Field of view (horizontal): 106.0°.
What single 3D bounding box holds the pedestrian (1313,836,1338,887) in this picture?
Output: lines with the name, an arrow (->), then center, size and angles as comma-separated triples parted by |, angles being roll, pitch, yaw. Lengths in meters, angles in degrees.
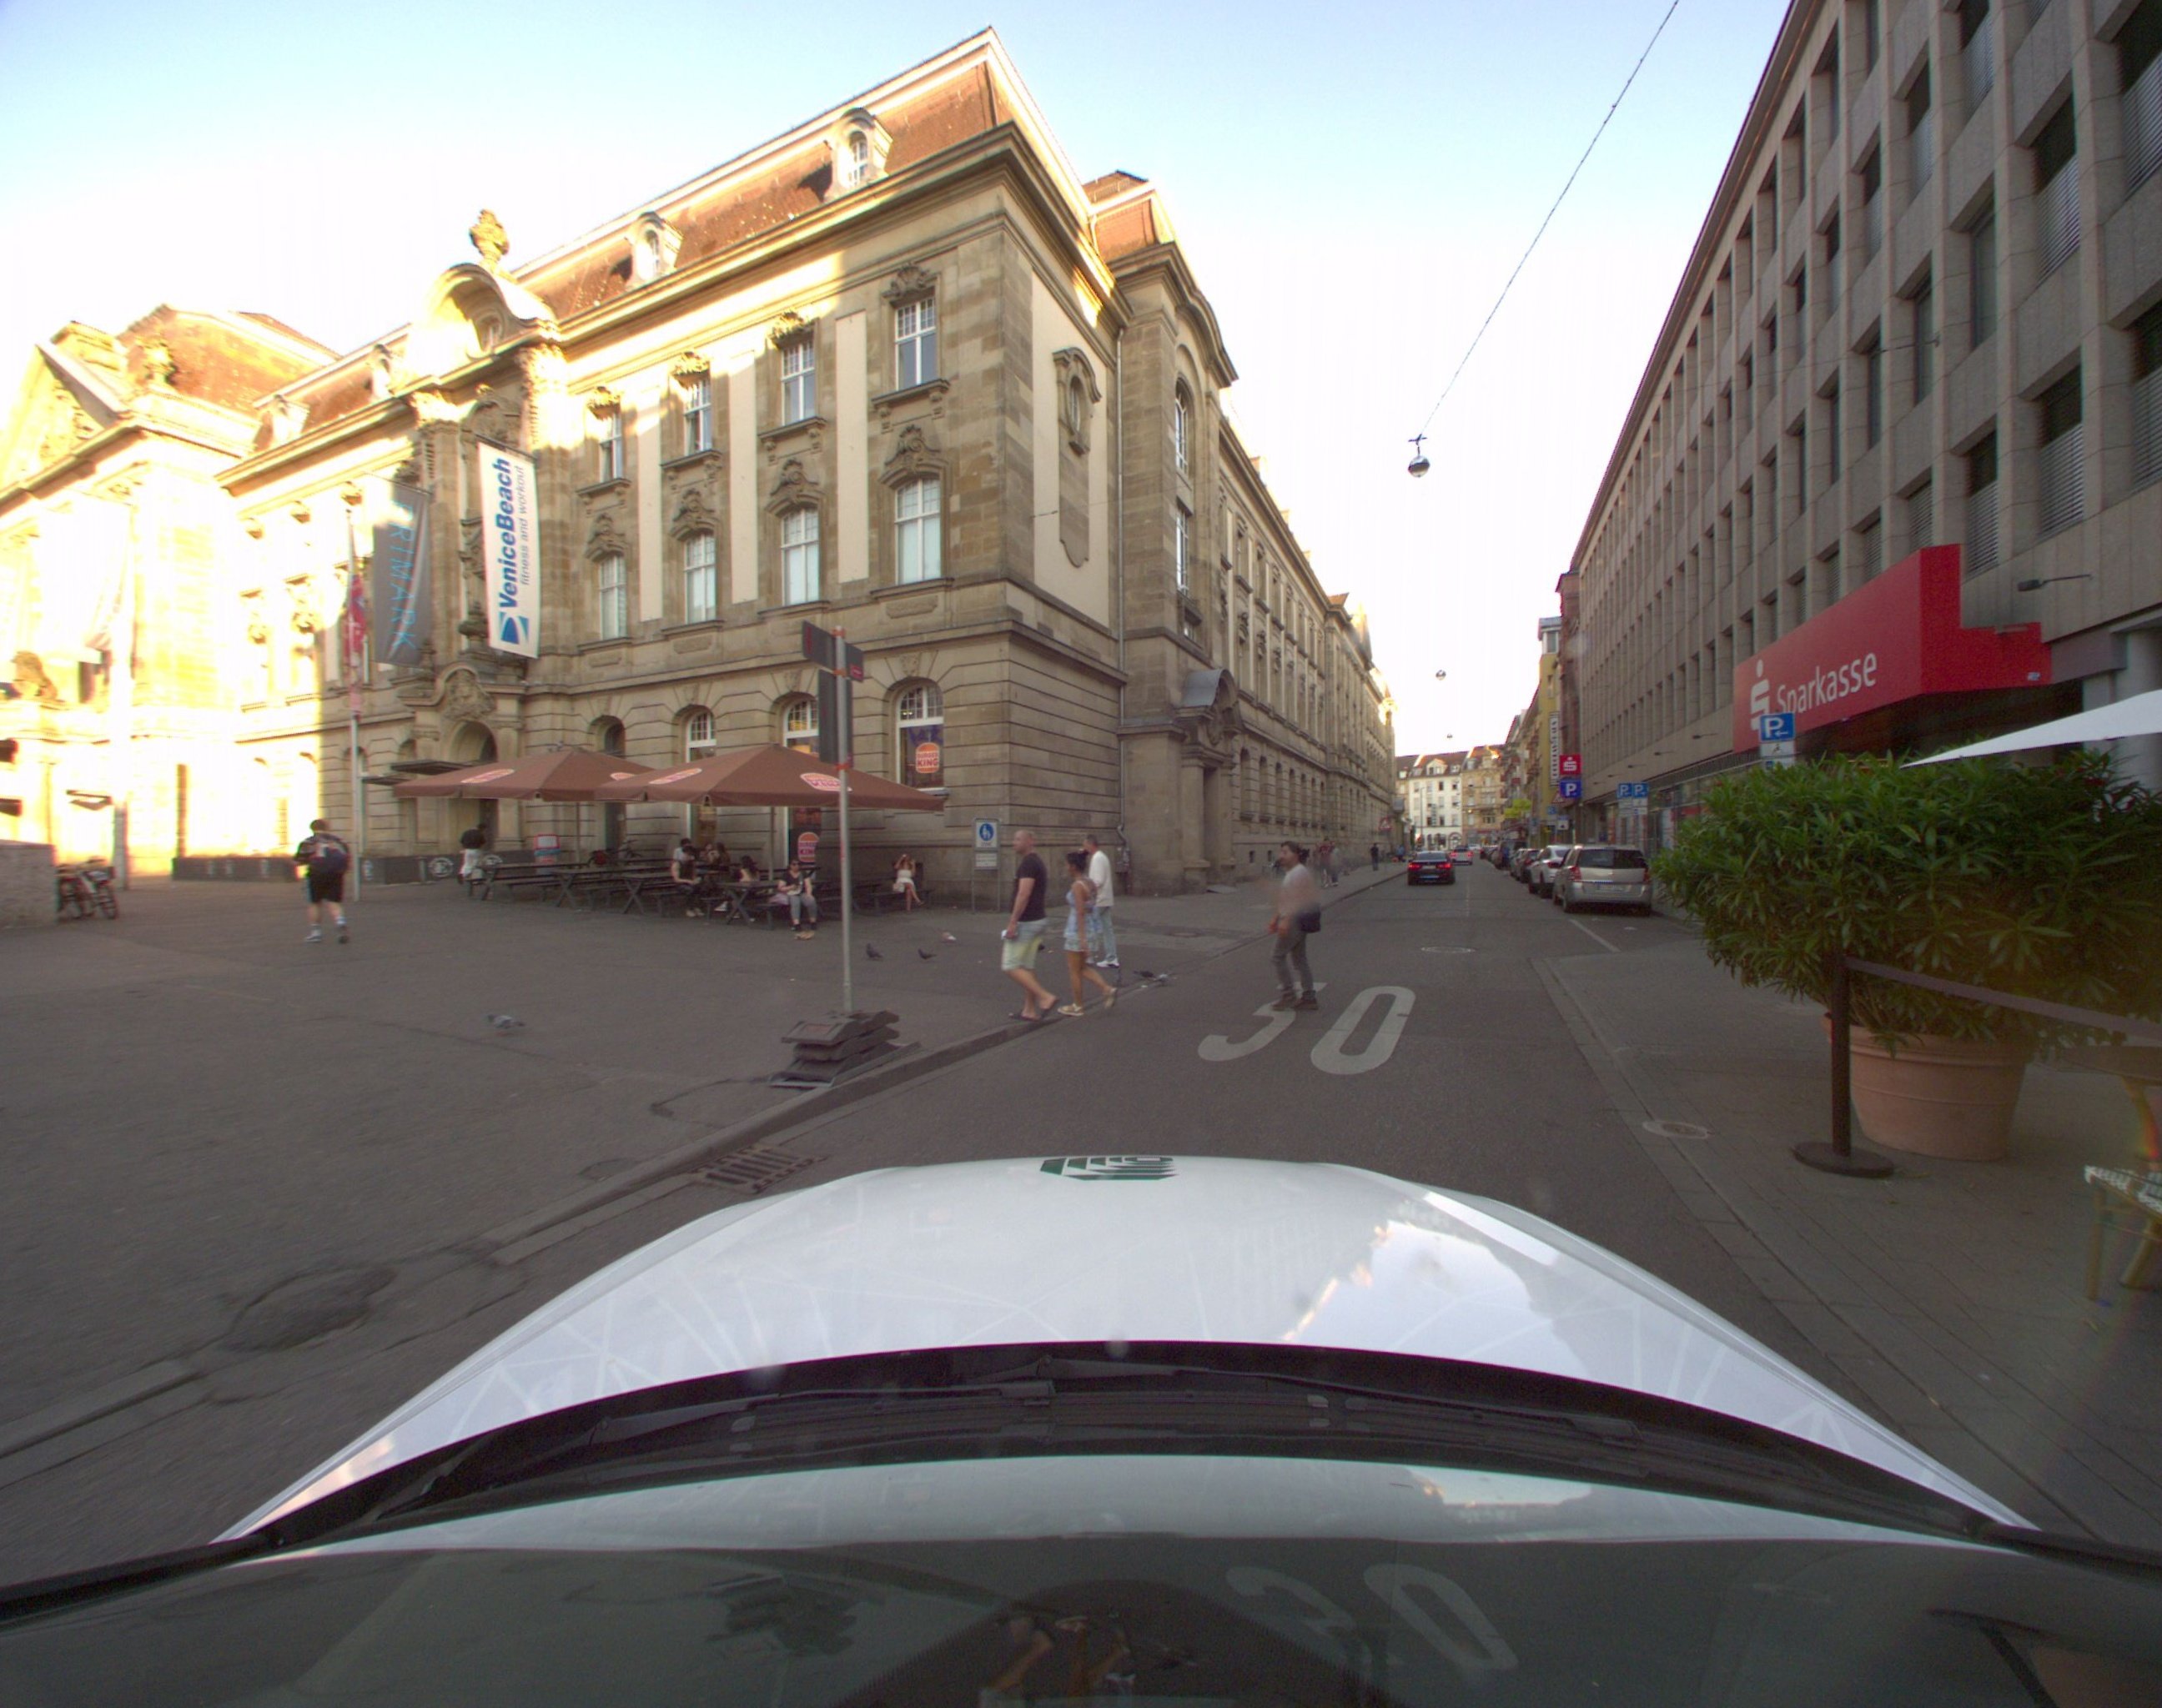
pedestrian -> 8.975, 0.260, 29.844 | 0.691, 1.812, 0.980 | 3, 1, 23

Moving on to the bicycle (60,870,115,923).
bicycle -> -16.827, 0.706, 13.789 | 0.988, 0.867, 0.318 | 0, 1, 24

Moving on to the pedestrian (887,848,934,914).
pedestrian -> -3.612, 0.553, 17.222 | 0.668, 1.308, 0.764 | -1, 4, -40

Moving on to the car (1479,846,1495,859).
car -> 47.991, -0.204, 96.308 | 1.629, 1.523, 3.303 | 1, 1, 25

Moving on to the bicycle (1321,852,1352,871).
bicycle -> 14.939, 0.445, 47.548 | 1.664, 1.041, 0.490 | 1, 1, 24

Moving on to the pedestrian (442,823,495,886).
pedestrian -> -15.556, -0.007, 20.695 | 0.850, 1.565, 0.845 | 0, 1, -19

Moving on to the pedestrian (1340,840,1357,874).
pedestrian -> 13.979, 0.151, 42.564 | 0.712, 1.752, 0.672 | 3, 1, 23

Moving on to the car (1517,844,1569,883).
car -> 19.741, 0.367, 34.895 | 1.629, 1.523, 3.303 | 1, 1, 25

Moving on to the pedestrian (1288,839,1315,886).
pedestrian -> 8.174, 0.313, 30.183 | 0.790, 1.675, 0.980 | 3, 1, 23

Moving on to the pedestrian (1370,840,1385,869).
pedestrian -> 18.756, 0.025, 51.534 | 0.797, 1.752, 0.814 | 3, 1, 23

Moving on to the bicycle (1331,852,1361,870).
bicycle -> 16.099, 0.439, 49.506 | 1.664, 1.041, 0.490 | 1, 1, 24

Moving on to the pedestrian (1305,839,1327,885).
pedestrian -> 9.095, 0.303, 31.493 | 0.683, 1.752, 0.726 | 3, 1, 23

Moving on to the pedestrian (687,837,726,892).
pedestrian -> -9.185, 0.256, 19.969 | 0.575, 1.308, 0.597 | 2, 1, 24

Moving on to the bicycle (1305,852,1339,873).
bicycle -> 12.859, 0.456, 43.401 | 1.664, 1.041, 0.490 | 1, 1, 24

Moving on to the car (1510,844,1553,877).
car -> 22.387, 0.285, 40.565 | 1.629, 1.523, 3.303 | 1, 1, 25

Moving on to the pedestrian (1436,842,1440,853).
pedestrian -> 60.671, -1.086, 138.377 | 0.660, 1.752, 0.685 | 3, 1, 22

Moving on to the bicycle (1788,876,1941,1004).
bicycle -> 7.519, 0.774, 7.902 | 0.553, 1.041, 1.695 | -2, -1, 26

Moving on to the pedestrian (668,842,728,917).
pedestrian -> -7.408, 0.482, 15.773 | 0.644, 1.383, 0.811 | 3, 1, 36

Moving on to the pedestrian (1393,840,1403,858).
pedestrian -> 30.406, -0.471, 78.174 | 0.800, 1.752, 0.942 | 3, 1, 24

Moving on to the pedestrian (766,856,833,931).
pedestrian -> -4.999, 0.681, 14.453 | 0.817, 1.242, 0.786 | 3, 1, 39

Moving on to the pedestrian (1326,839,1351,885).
pedestrian -> 9.978, 0.294, 31.603 | 0.780, 1.752, 0.726 | 3, 1, 23

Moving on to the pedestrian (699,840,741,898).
pedestrian -> -8.437, 0.337, 19.044 | 0.601, 1.308, 0.612 | 2, 1, 21

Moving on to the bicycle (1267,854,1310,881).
bicycle -> 8.780, 0.562, 34.468 | 1.663, 1.041, 0.490 | 2, 1, 31

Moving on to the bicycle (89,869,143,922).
bicycle -> -16.686, 0.706, 14.086 | 0.988, 0.867, 0.318 | 0, 1, 24

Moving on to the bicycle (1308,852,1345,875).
bicycle -> 12.046, 0.455, 40.015 | 1.664, 1.041, 0.490 | 1, 1, 24

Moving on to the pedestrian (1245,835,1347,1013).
pedestrian -> 2.135, 0.658, 8.045 | 0.861, 1.646, 0.736 | -1, -1, 21

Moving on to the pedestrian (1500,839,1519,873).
pedestrian -> 22.597, 0.092, 42.935 | 0.717, 1.791, 0.828 | -1, 0, 40

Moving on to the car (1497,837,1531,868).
car -> 29.518, -0.135, 55.593 | 1.853, 2.018, 3.787 | 1, 1, 25

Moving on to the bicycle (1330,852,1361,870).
bicycle -> 15.937, 0.439, 49.066 | 1.664, 1.041, 0.490 | 1, 1, 24

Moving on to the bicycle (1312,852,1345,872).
bicycle -> 13.515, 0.452, 44.504 | 1.664, 1.041, 0.490 | 1, 1, 24

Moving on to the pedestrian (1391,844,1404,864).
pedestrian -> 27.294, -0.026, 70.275 | 0.925, 1.636, 0.658 | 3, 1, 23

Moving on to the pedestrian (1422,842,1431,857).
pedestrian -> 43.577, -0.559, 102.708 | 0.925, 1.752, 0.814 | 3, 1, 22

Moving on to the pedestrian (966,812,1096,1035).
pedestrian -> -0.432, 0.580, 7.269 | 0.863, 1.840, 0.811 | 0, -1, 25

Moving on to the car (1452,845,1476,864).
car -> 32.273, 0.050, 68.764 | 1.778, 1.510, 4.023 | 0, 1, 24

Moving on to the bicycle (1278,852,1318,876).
bicycle -> 9.874, 0.470, 37.103 | 1.670, 1.041, 0.488 | 1, 1, 8

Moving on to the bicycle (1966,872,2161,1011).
bicycle -> 8.728, 0.714, 7.251 | 0.553, 1.041, 1.695 | -2, -1, 26

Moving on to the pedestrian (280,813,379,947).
pedestrian -> -10.689, 0.344, 11.590 | 0.795, 1.823, 0.816 | 1, 1, 30

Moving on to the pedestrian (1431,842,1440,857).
pedestrian -> 44.655, -0.571, 102.690 | 0.925, 1.752, 0.814 | 3, 1, 22

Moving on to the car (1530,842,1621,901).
car -> 15.120, 0.466, 25.120 | 1.754, 1.636, 4.112 | 1, 1, 22

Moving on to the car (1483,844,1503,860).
car -> 42.056, -0.238, 83.172 | 1.629, 1.523, 3.303 | 1, 1, 25

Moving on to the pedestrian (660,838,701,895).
pedestrian -> -9.534, 0.283, 19.391 | 0.575, 1.308, 0.597 | 2, 1, 21

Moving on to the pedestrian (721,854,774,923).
pedestrian -> -6.245, 0.621, 15.248 | 0.692, 1.226, 0.621 | 3, 1, 40

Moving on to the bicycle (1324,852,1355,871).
bicycle -> 15.190, 0.444, 47.936 | 1.664, 1.041, 0.490 | 1, 1, 24

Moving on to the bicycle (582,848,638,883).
bicycle -> -12.725, 0.299, 22.013 | 0.405, 0.894, 1.329 | 0, 2, 21

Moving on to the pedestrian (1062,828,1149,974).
pedestrian -> 0.338, 0.586, 10.887 | 0.864, 1.839, 0.871 | 2, 2, 20

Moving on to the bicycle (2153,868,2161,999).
bicycle -> 9.055, 0.679, 6.025 | 0.540, 1.117, 1.823 | -2, 0, 25

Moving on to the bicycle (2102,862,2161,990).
bicycle -> 9.799, 0.648, 6.852 | 0.540, 1.117, 1.821 | -2, 0, 17

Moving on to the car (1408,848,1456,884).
car -> 15.101, 0.486, 34.894 | 1.753, 1.409, 4.075 | -2, 0, 25

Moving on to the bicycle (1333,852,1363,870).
bicycle -> 16.619, 0.437, 50.691 | 1.664, 1.041, 0.490 | 1, 1, 24

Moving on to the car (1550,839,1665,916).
car -> 12.625, 0.475, 19.770 | 1.754, 1.636, 4.076 | 1, 1, 25

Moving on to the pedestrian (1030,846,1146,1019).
pedestrian -> 0.084, 0.722, 7.989 | 0.863, 1.581, 0.811 | 0, -1, 25
